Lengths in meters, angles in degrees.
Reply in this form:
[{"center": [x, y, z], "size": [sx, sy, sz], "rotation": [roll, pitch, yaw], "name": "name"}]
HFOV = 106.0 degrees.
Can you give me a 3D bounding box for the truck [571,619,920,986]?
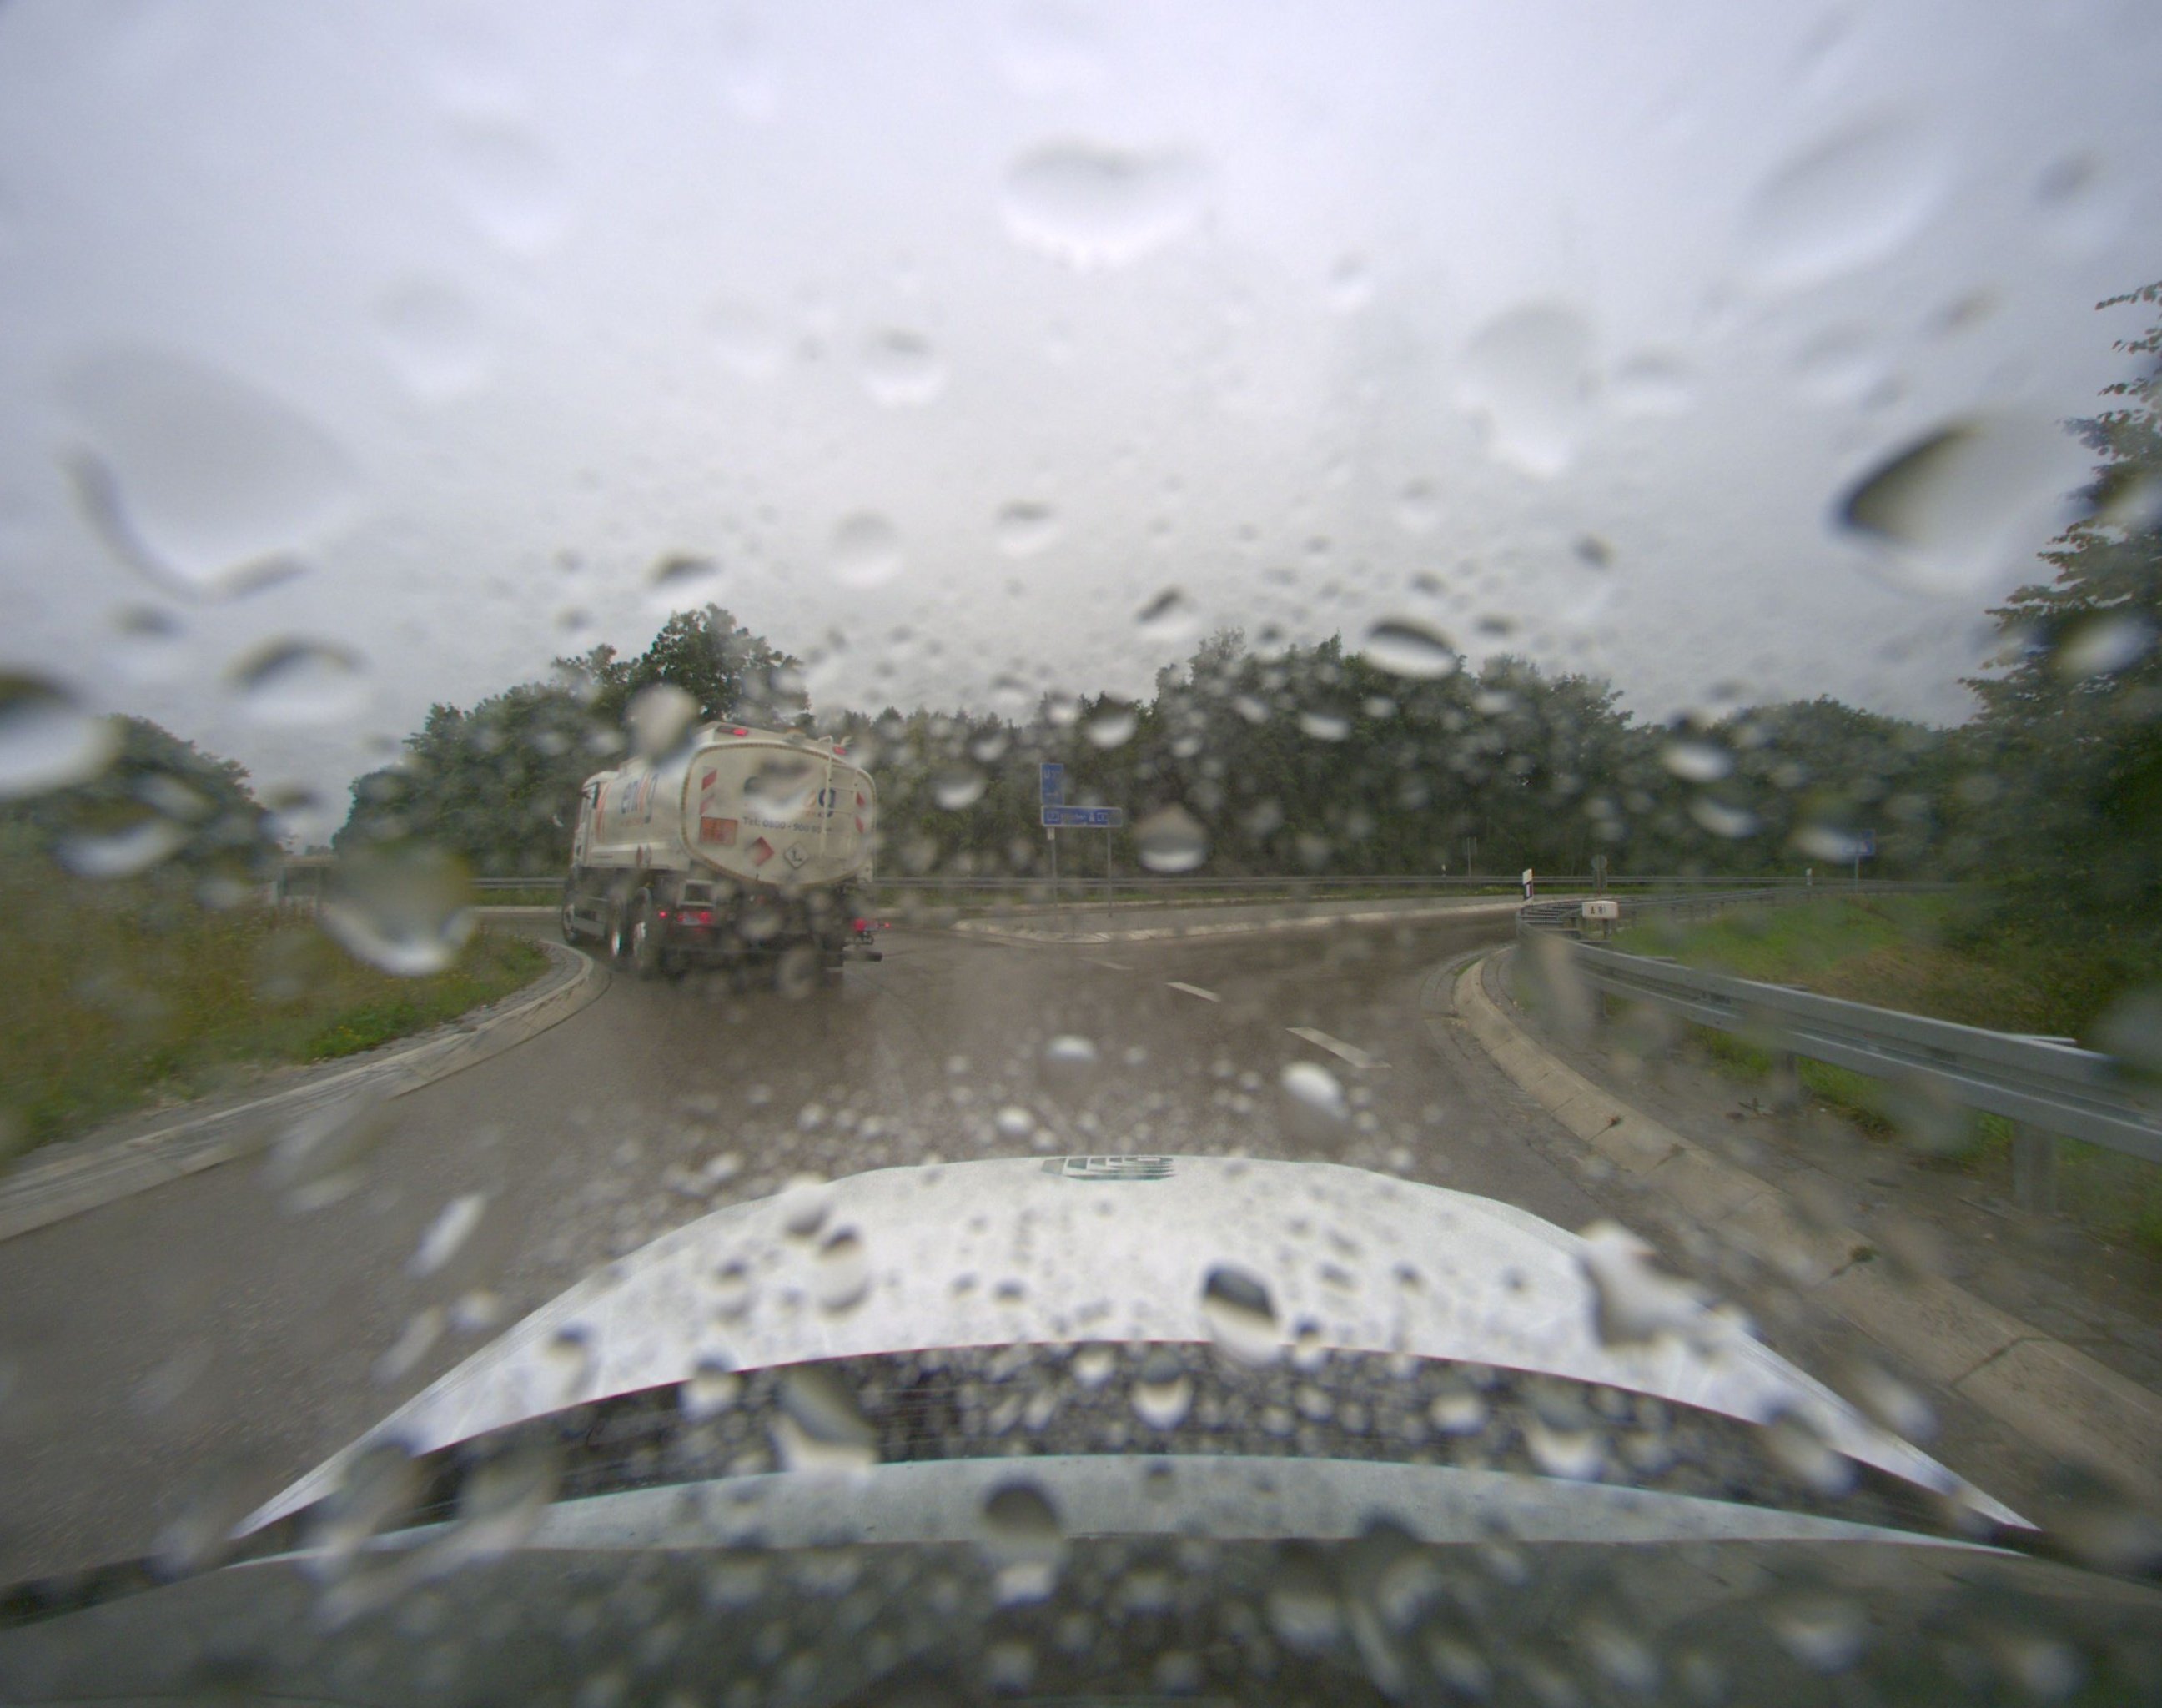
[{"center": [-5.890, -0.556, 12.971], "size": [3.063, 3.851, 8.724], "rotation": [1, 0, -37], "name": "truck"}]
